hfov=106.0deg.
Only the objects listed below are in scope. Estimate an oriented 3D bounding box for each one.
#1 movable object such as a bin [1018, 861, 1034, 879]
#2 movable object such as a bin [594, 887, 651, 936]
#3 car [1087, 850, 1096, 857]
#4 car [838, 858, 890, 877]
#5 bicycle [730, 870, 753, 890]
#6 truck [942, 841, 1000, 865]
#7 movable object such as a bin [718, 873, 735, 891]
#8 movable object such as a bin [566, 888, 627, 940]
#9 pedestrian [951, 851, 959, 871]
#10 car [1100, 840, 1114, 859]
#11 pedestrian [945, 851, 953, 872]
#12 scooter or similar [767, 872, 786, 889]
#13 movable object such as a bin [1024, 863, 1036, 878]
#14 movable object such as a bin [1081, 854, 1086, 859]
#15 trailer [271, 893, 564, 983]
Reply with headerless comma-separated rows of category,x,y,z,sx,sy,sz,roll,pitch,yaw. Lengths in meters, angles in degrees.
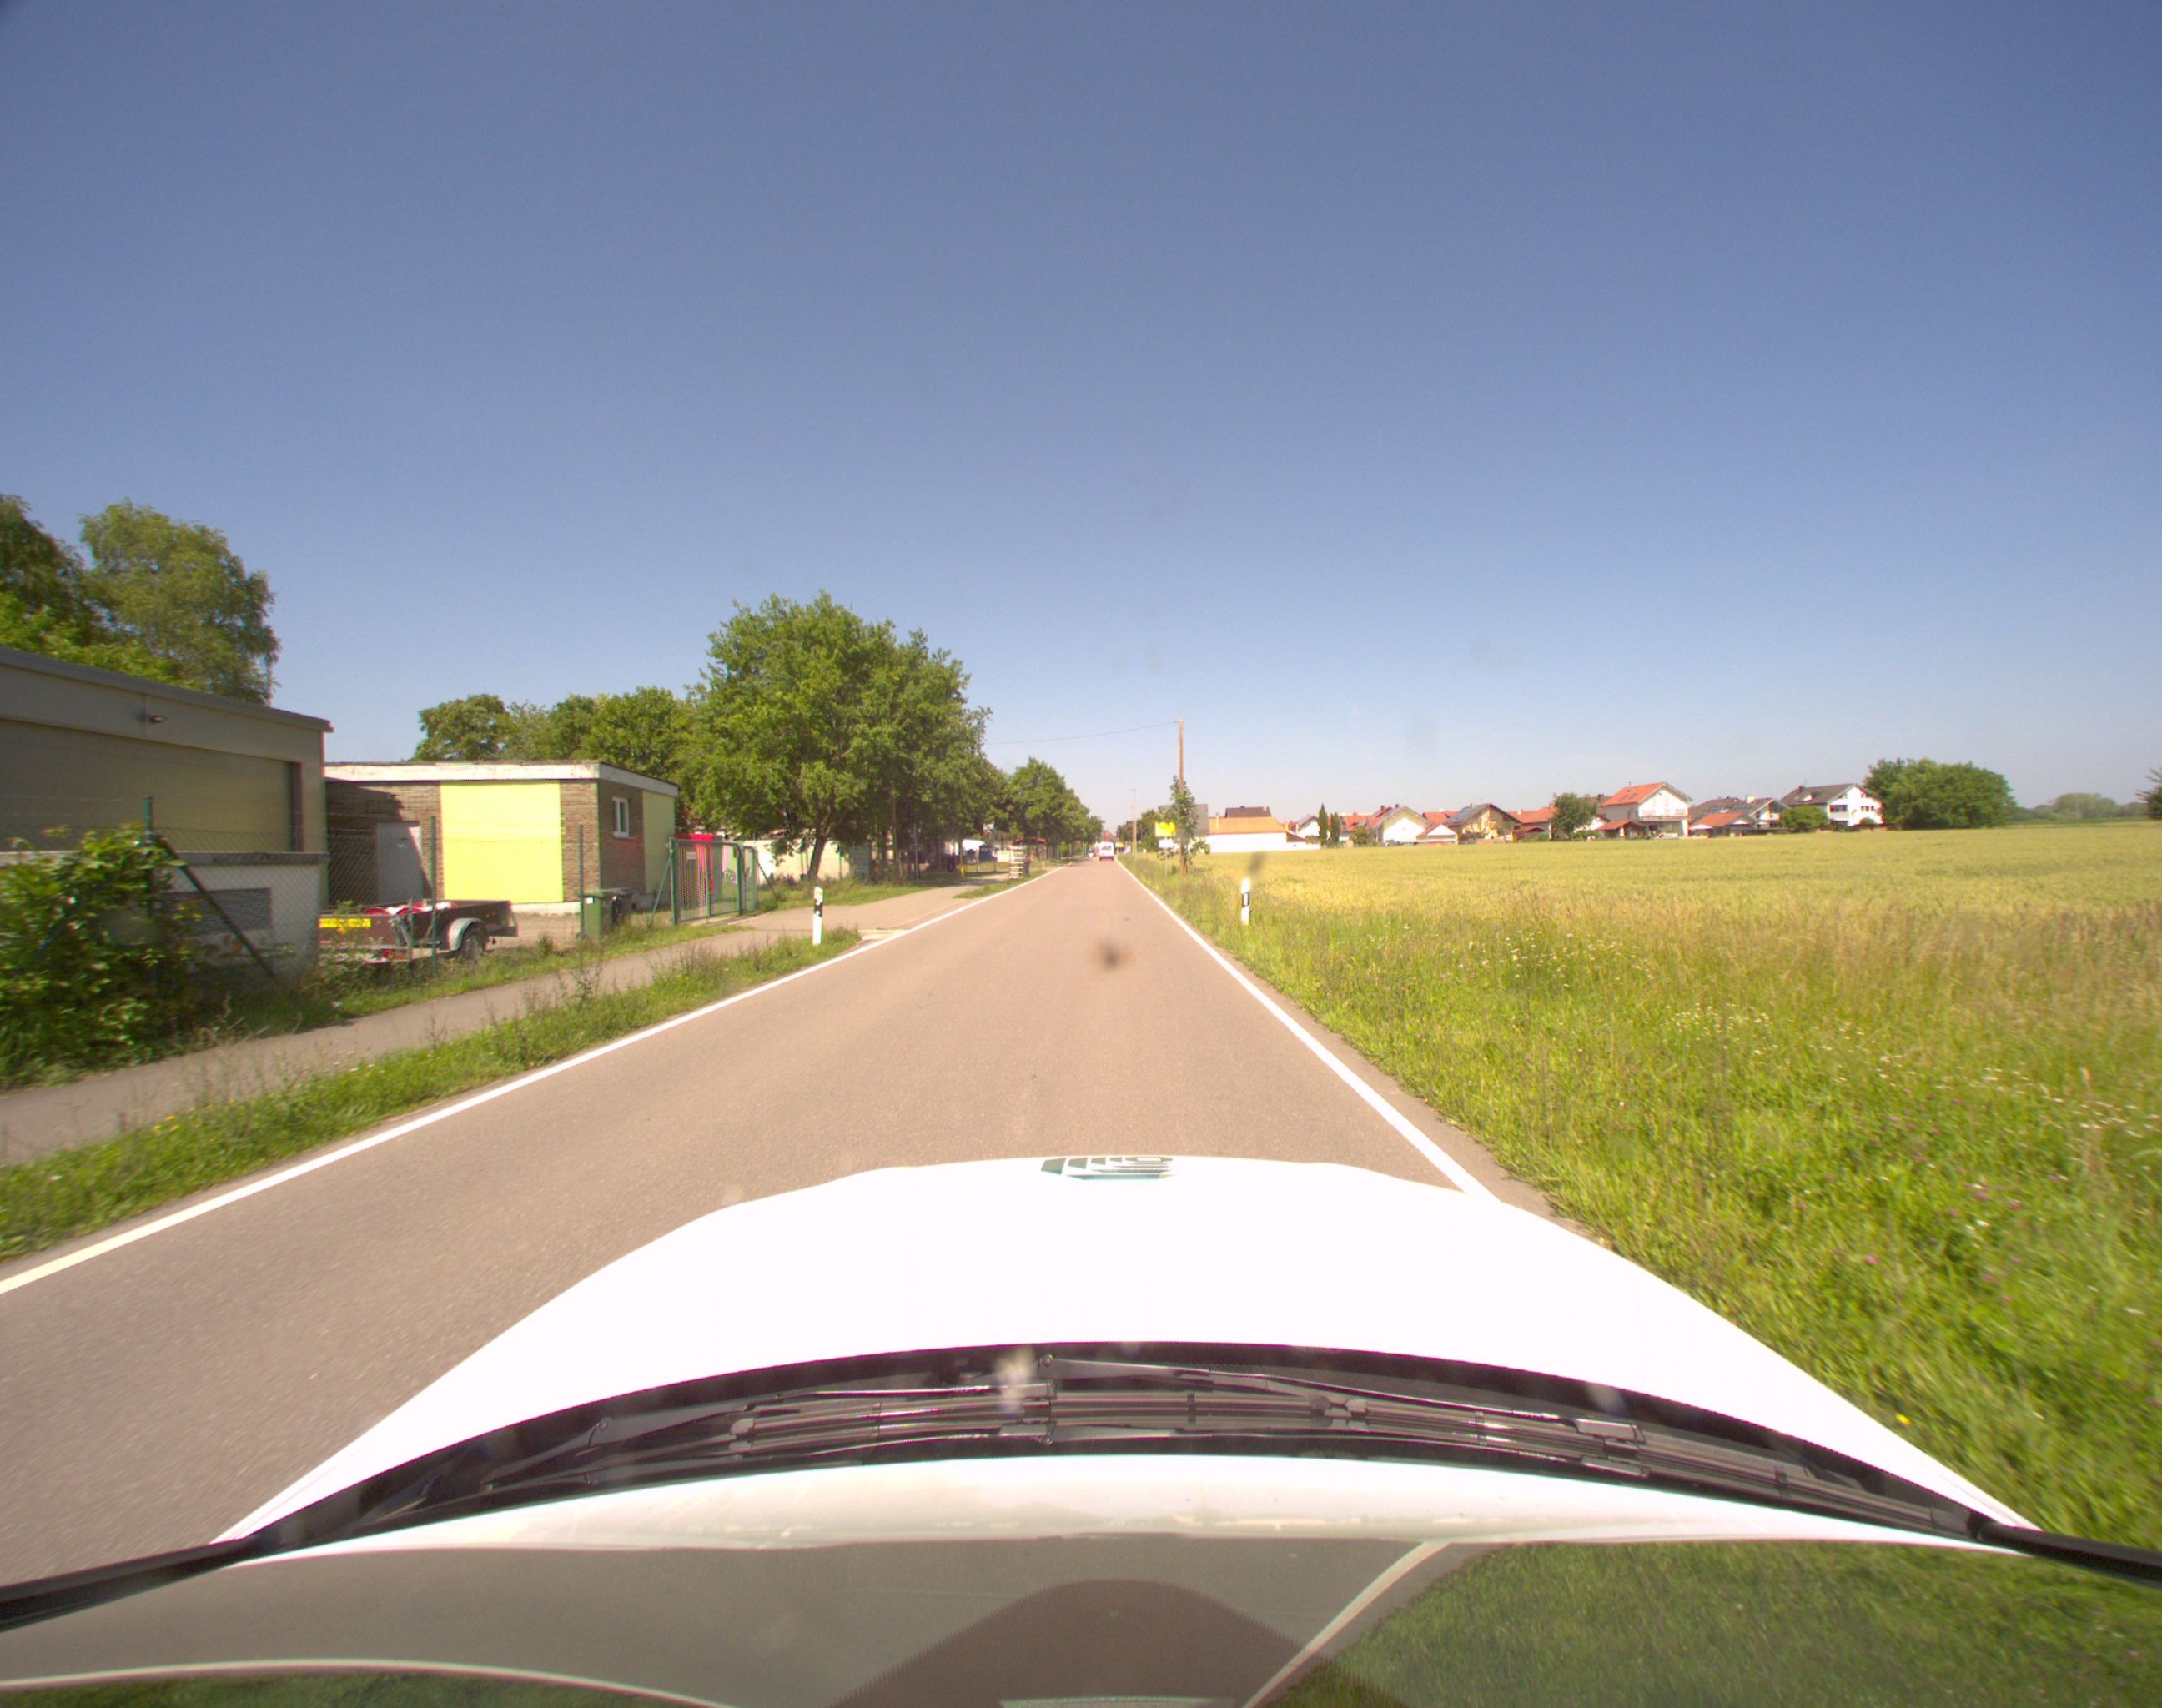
movable object such as a bin,-3.206,0.913,47.537,0.694,1.024,0.750,-2,0,9
movable object such as a bin,-8.606,1.073,15.318,0.635,0.854,0.655,-2,0,7
car,2.254,-0.125,173.844,1.641,1.423,4.082,-4,0,2
car,-17.889,1.134,67.291,3.795,1.399,1.755,-2,0,-6
bicycle,-21.154,1.612,50.743,1.236,1.213,0.423,-3,0,-1
truck,-11.976,-0.142,88.953,5.957,2.483,1.978,-1,-1,-36
movable object such as a bin,-21.359,1.675,49.068,0.692,1.013,0.663,-2,0,-2
movable object such as a bin,-8.697,1.071,14.641,0.635,0.876,0.655,-2,0,7
pedestrian,-10.777,0.590,69.603,0.603,1.751,0.585,-2,0,-8
car,3.612,-0.599,112.672,1.732,2.432,4.375,-2,0,1
pedestrian,-11.184,0.615,68.833,0.603,1.751,0.585,-2,0,-8
scooter or similar,-18.369,1.587,49.158,0.892,0.997,0.533,-2,0,-4
movable object such as a bin,-3.023,0.984,48.278,0.559,0.877,0.615,-2,0,9
movable object such as a bin,0.575,0.462,168.288,0.706,1.079,0.644,-2,0,29
trailer,-9.319,1.124,11.822,1.628,0.867,3.352,-2,0,-5
